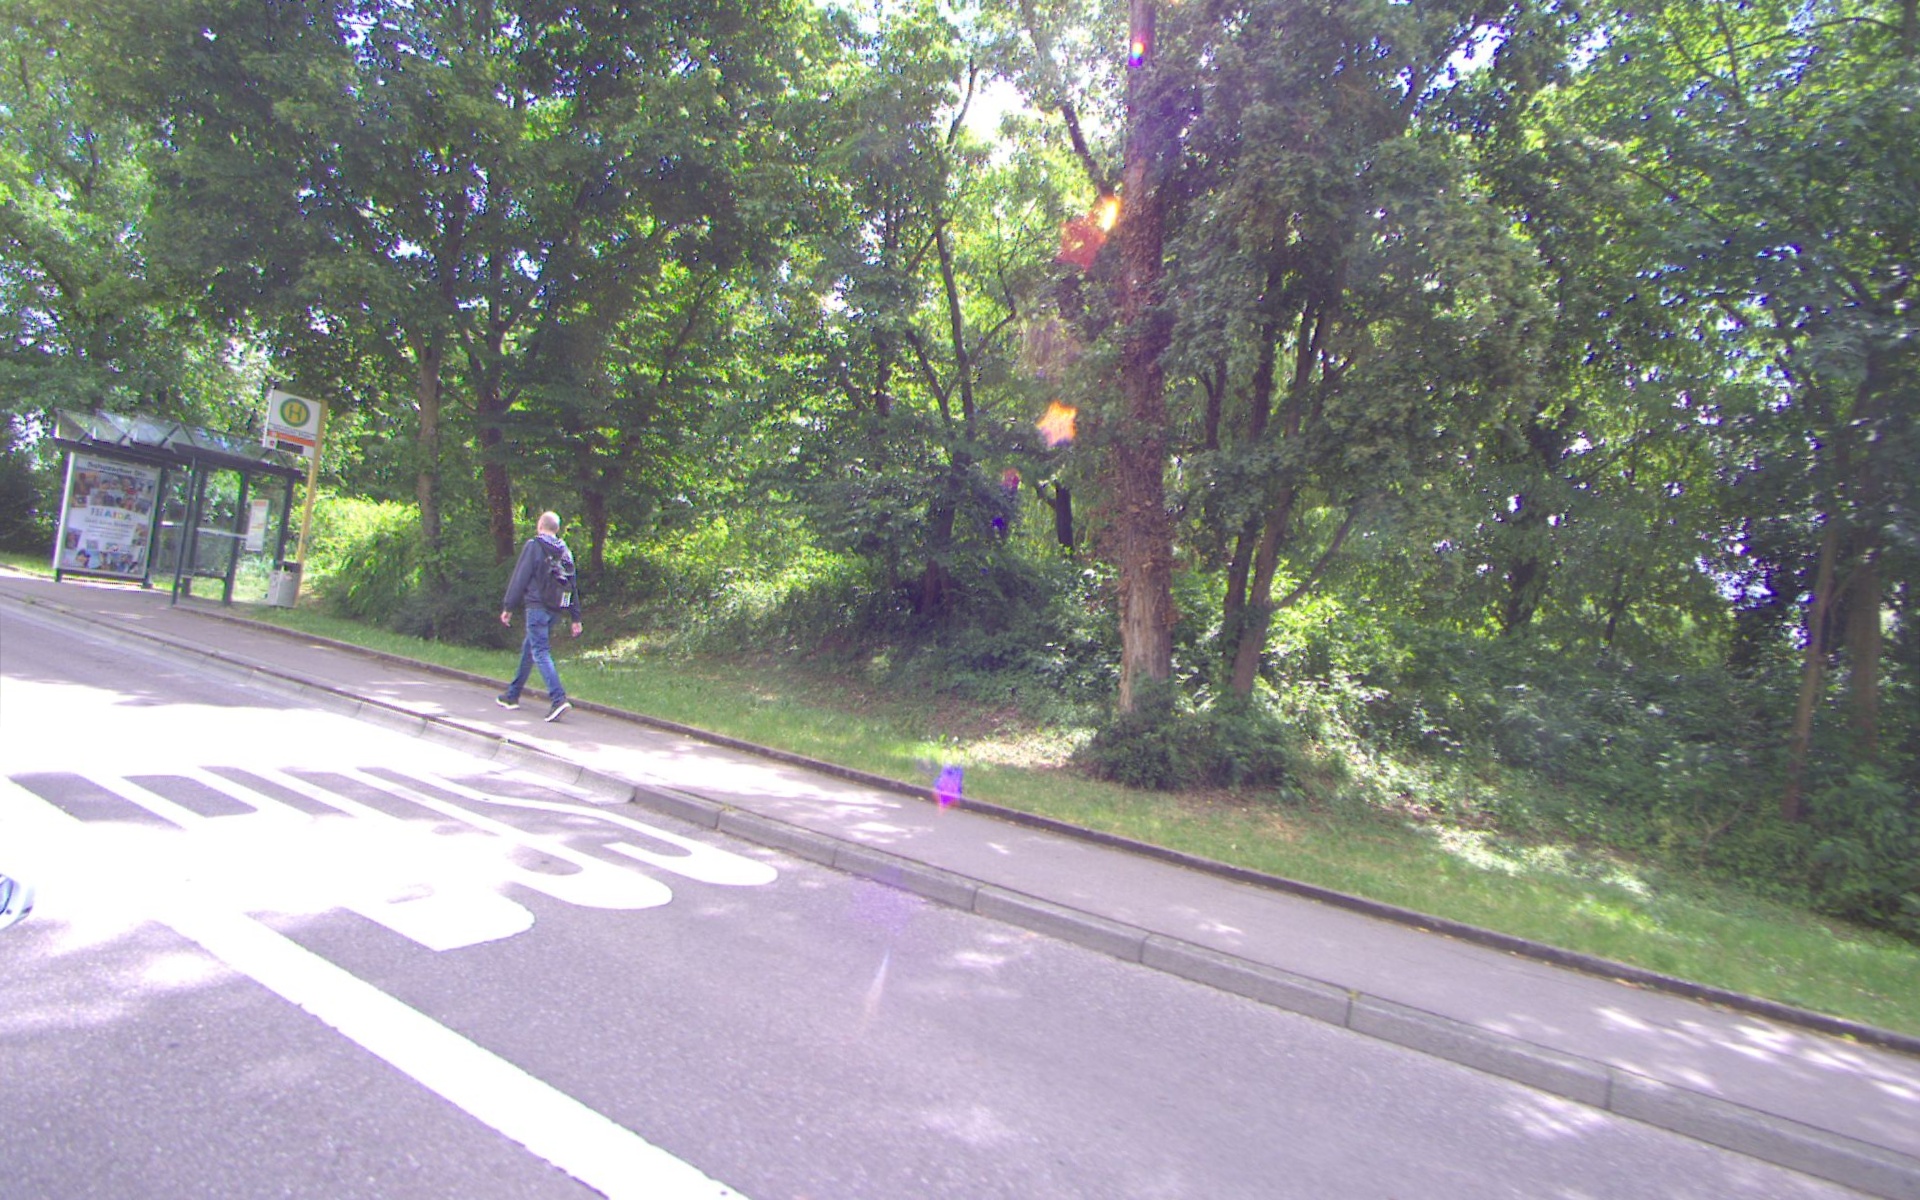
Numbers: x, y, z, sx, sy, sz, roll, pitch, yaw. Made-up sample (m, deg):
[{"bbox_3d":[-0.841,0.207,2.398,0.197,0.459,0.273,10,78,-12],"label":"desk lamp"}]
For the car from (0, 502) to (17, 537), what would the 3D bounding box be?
[{"bbox_3d":[-46.824,-4.061,46.258,1.909,1.544,4.590,7,-2,21],"label":"car"}]

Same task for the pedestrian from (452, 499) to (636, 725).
[{"bbox_3d":[-3.891,0.110,9.410,1.249,1.917,0.802,7,-1,32],"label":"pedestrian"}]
